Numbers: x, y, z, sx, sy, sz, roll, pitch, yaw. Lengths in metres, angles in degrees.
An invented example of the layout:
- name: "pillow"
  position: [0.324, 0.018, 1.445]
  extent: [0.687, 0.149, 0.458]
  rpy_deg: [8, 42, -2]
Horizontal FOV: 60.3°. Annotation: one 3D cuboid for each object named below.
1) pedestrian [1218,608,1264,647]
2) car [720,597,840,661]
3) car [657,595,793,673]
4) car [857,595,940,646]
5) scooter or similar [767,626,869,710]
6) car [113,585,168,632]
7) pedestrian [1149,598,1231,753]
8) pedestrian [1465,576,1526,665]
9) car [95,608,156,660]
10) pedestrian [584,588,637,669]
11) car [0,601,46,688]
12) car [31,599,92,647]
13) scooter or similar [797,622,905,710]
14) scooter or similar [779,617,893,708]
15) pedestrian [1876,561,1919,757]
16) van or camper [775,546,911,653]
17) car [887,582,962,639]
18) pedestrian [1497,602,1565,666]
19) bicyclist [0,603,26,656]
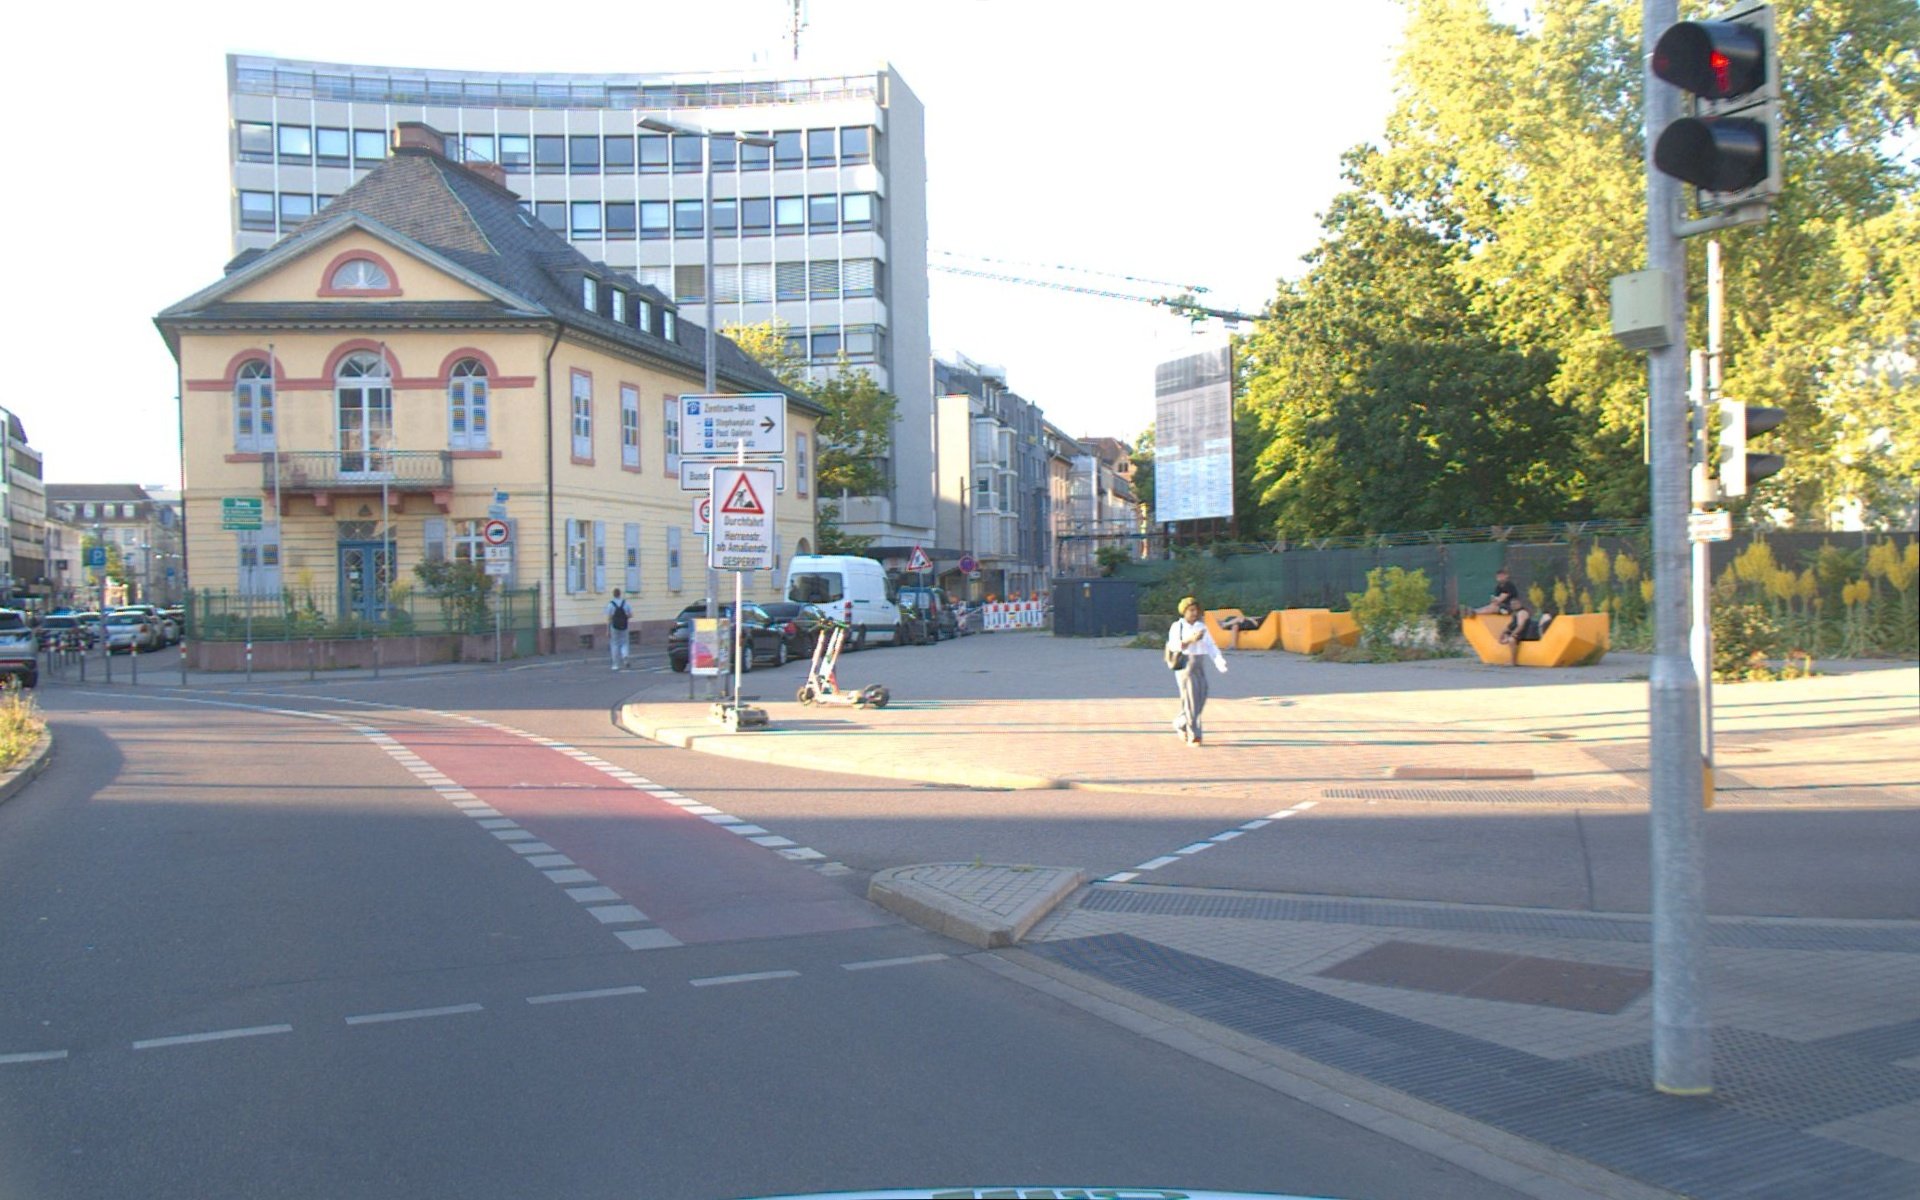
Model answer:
- name: "pedestrian"
  position: [6.745, 0.655, 39.733]
  extent: [0.557, 0.909, 0.966]
  rpy_deg: [-1, 0, -42]
- name: "car"
  position: [-4.423, 0.678, 41.322]
  extent: [1.692, 1.454, 4.478]
  rpy_deg: [-1, 1, 11]
- name: "car"
  position: [-5.118, 0.704, 36.578]
  extent: [1.740, 1.570, 4.294]
  rpy_deg: [-1, 0, 10]
- name: "car"
  position: [-1.914, 0.617, 52.439]
  extent: [1.656, 1.485, 4.102]
  rpy_deg: [-1, 1, 12]
- name: "scooter or similar"
  position: [-2.054, 0.980, 23.930]
  extent: [1.370, 1.186, 0.461]
  rpy_deg: [-1, 0, 19]
- name: "car"
  position: [-31.625, 0.323, 63.900]
  extent: [1.709, 1.738, 3.776]
  rpy_deg: [-1, 0, -24]
- name: "pedestrian"
  position: [2.515, 0.810, 18.139]
  extent: [0.677, 1.641, 0.593]
  rpy_deg: [-1, 0, -18]
- name: "pedestrian"
  position: [10.402, 0.395, 32.162]
  extent: [0.808, 1.694, 0.759]
  rpy_deg: [-1, 0, -21]
- name: "car"
  position: [-29.656, 1.195, 58.847]
  extent: [1.710, 1.738, 3.412]
  rpy_deg: [-2, -1, -24]
- name: "pedestrian"
  position: [-7.758, 0.625, 36.751]
  extent: [0.857, 1.754, 0.830]
  rpy_deg: [0, 0, 15]
- name: "car"
  position: [-20.408, 0.900, 34.129]
  extent: [1.931, 1.690, 4.471]
  rpy_deg: [-1, 0, -39]
- name: "car"
  position: [-36.735, 0.918, 67.682]
  extent: [1.784, 1.840, 3.971]
  rpy_deg: [-1, 1, -23]
- name: "scooter or similar"
  position: [-1.642, 0.996, 24.944]
  extent: [1.490, 1.282, 0.612]
  rpy_deg: [-1, 0, 19]
- name: "scooter or similar"
  position: [-1.823, 0.913, 24.387]
  extent: [1.613, 1.315, 0.461]
  rpy_deg: [-1, 0, 19]
- name: "pedestrian"
  position: [9.054, 0.524, 15.263]
  extent: [0.921, 1.766, 0.822]
  rpy_deg: [-1, 0, 22]
- name: "van or camper"
  position: [-3.218, -0.020, 47.070]
  extent: [2.033, 2.823, 6.455]
  rpy_deg: [-1, 0, 13]
- name: "car"
  position: [-1.171, 0.322, 56.997]
  extent: [1.676, 1.881, 4.026]
  rpy_deg: [-1, 1, 12]
- name: "pedestrian"
  position: [10.854, 0.635, 31.437]
  extent: [0.973, 1.178, 0.730]
  rpy_deg: [-1, 0, -21]
- name: "bicyclist"
  position: [-29.365, 0.907, 51.085]
  extent: [0.819, 1.596, 0.781]
  rpy_deg: [-1, 0, -25]
